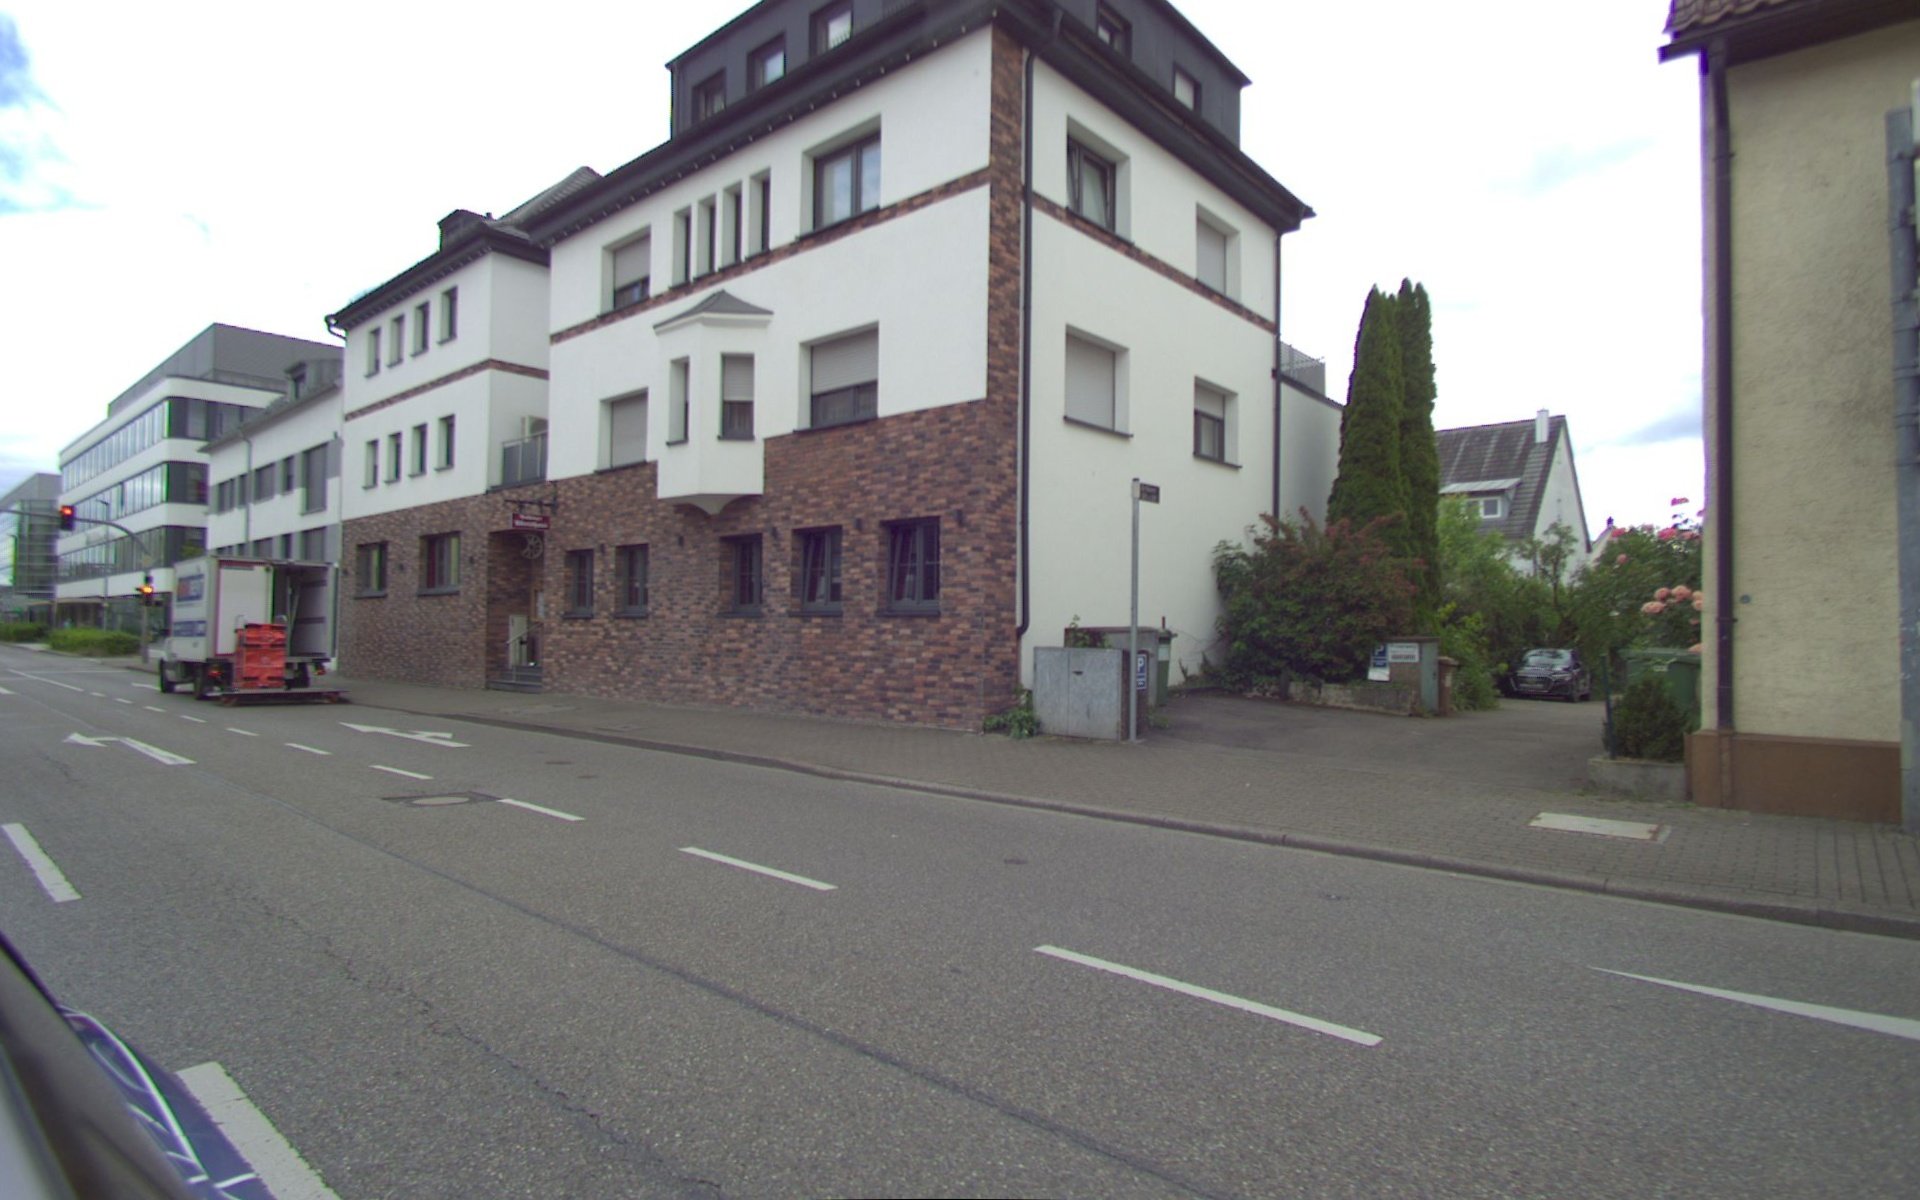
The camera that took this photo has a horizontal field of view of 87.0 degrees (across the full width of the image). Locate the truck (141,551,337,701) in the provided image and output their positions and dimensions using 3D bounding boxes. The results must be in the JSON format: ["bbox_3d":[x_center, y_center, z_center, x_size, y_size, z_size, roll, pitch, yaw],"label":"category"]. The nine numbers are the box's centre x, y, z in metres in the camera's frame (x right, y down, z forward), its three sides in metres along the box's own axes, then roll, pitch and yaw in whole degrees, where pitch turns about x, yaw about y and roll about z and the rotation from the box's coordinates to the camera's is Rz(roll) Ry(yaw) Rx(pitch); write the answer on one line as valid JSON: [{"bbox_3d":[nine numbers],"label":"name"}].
[{"bbox_3d":[-16.596,0.563,23.144,5.963,2.993,2.436,-1,-1,42],"label":"truck"}]

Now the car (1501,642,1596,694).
[{"bbox_3d":[15.974,1.826,27.382,1.782,1.284,3.950,-1,-4,36],"label":"car"}]
